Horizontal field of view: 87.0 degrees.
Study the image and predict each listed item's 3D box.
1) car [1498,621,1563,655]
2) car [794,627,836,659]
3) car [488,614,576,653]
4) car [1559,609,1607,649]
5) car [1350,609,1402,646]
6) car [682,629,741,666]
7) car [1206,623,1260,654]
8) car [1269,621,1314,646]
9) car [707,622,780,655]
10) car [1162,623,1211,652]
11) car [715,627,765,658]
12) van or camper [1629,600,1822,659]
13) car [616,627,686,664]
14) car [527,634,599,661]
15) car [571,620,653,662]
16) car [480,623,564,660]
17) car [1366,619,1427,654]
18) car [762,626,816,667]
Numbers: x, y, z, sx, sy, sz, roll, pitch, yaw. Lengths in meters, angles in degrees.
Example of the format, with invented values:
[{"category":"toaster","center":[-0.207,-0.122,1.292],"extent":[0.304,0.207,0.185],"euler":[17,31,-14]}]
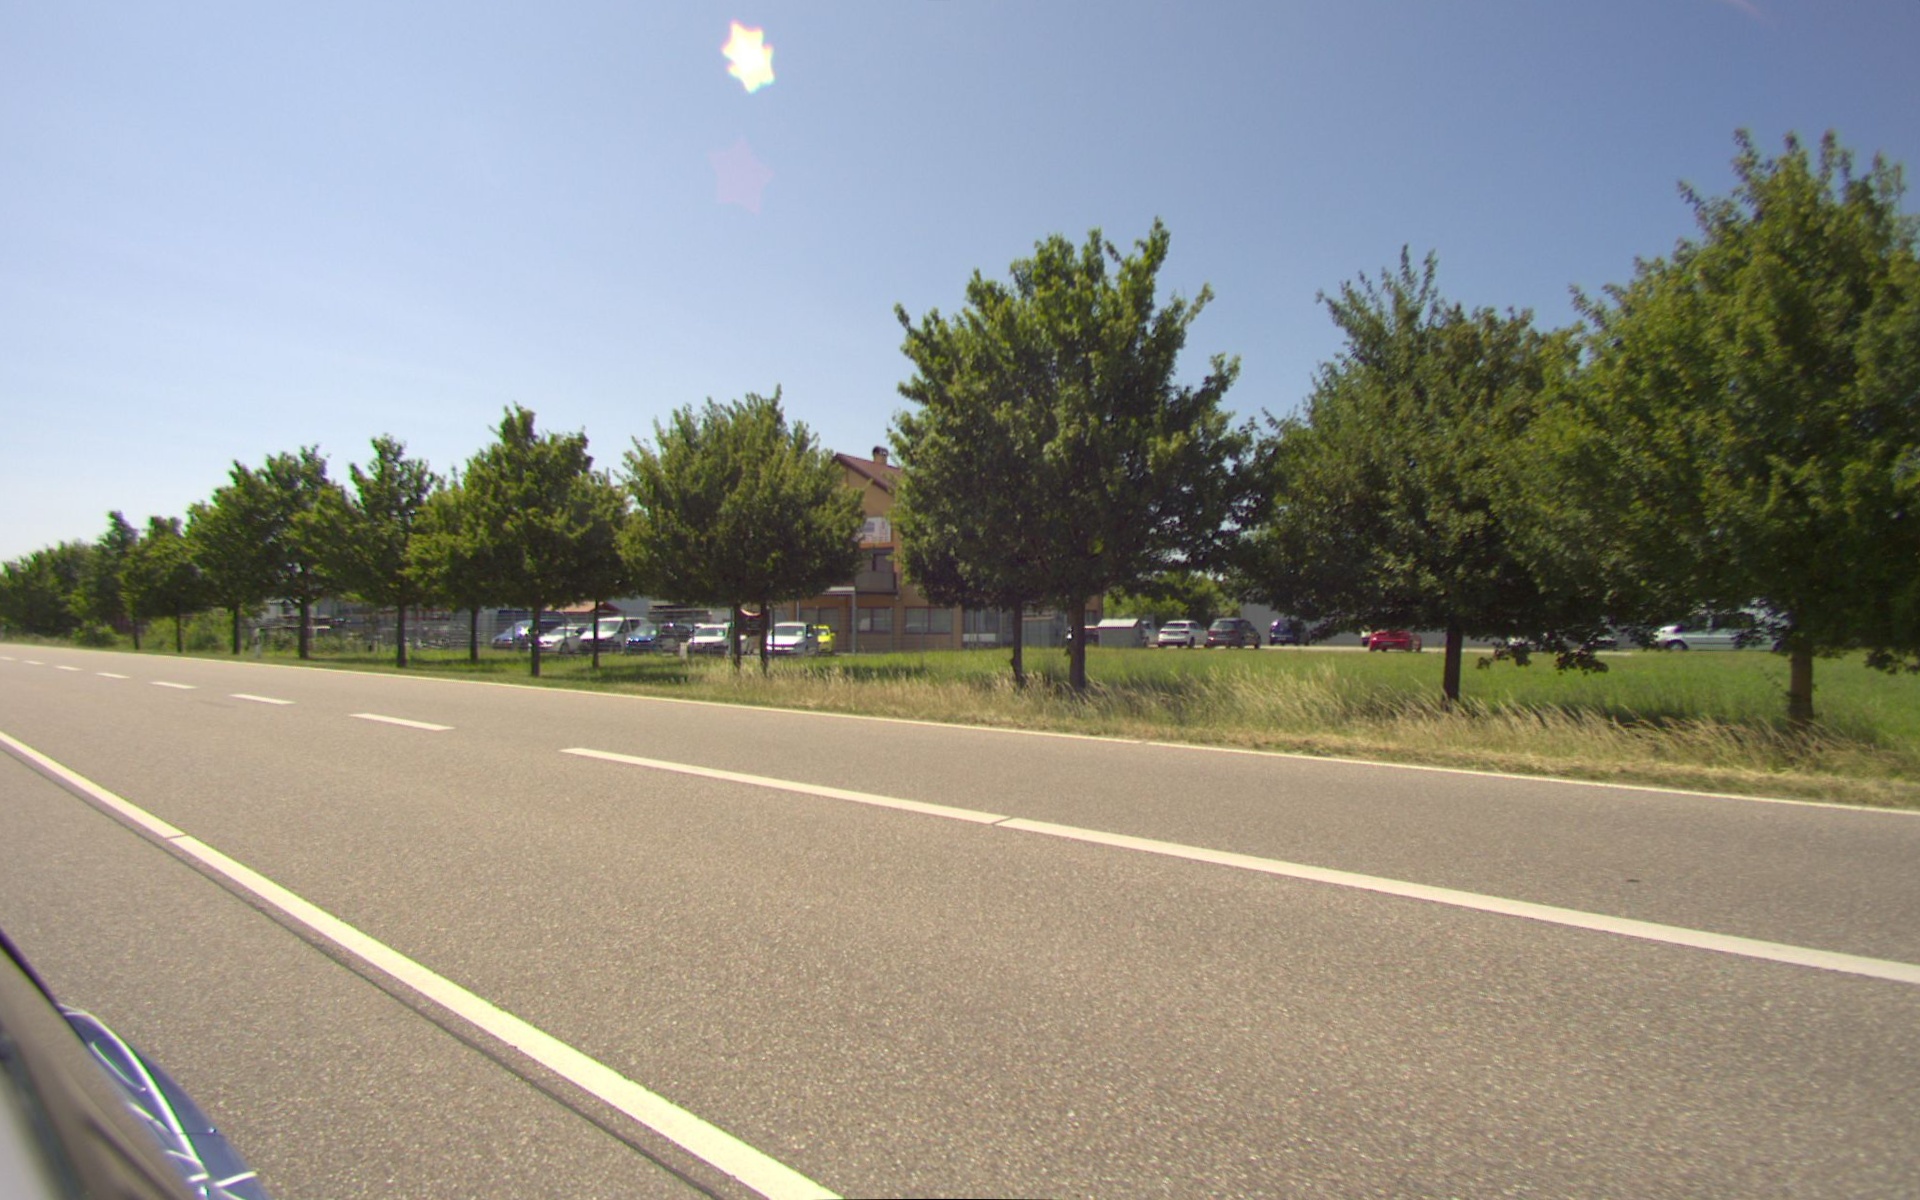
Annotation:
[{"category":"car","center":[24.598,1.600,43.768],"extent":[1.987,1.364,3.969],"euler":[0,-1,23]},{"category":"car","center":[-7.063,2.079,49.455],"extent":[1.713,1.409,4.003],"euler":[-1,-1,-4]},{"category":"car","center":[-30.898,2.437,73.260],"extent":[5.646,2.743,2.372],"euler":[1,-2,-19]},{"category":"car","center":[32.505,1.477,52.773],"extent":[1.995,2.029,3.954],"euler":[-1,-1,34]},{"category":"car","center":[23.929,1.521,58.104],"extent":[1.995,2.029,3.954],"euler":[-1,-1,34]},{"category":"car","center":[-10.991,2.070,45.015],"extent":[1.650,1.491,3.993],"euler":[-1,-1,0]},{"category":"car","center":[13.871,1.919,51.363],"extent":[1.732,1.431,3.575],"euler":[0,-1,31]},{"category":"car","center":[19.896,1.987,60.712],"extent":[1.851,1.431,3.591],"euler":[0,-1,31]},{"category":"car","center":[-16.307,2.905,76.308],"extent":[5.035,2.445,2.054],"euler":[1,-3,3]},{"category":"car","center":[11.820,1.925,52.645],"extent":[1.428,1.431,3.575],"euler":[0,-1,31]},{"category":"car","center":[-11.163,2.154,51.554],"extent":[1.494,1.463,3.339],"euler":[-1,-1,7]},{"category":"van or camper","center":[33.038,1.219,43.999],"extent":[6.524,2.381,2.441],"euler":[0,-1,35]},{"category":"car","center":[-14.774,2.126,48.565],"extent":[1.974,1.608,3.996],"euler":[-1,-1,3]},{"category":"car","center":[-20.778,2.450,53.057],"extent":[1.798,1.274,3.664],"euler":[-1,-1,13]},{"category":"car","center":[-17.540,2.037,51.246],"extent":[1.808,1.969,4.647],"euler":[-1,-1,12]},{"category":"car","center":[-23.881,2.237,55.309],"extent":[2.006,1.815,4.284],"euler":[-1,-1,15]},{"category":"car","center":[20.033,1.635,46.361],"extent":[1.923,1.519,3.955],"euler":[0,-1,33]},{"category":"car","center":[-7.165,1.912,42.763],"extent":[1.567,1.555,4.342],"euler":[-1,-1,0]}]
